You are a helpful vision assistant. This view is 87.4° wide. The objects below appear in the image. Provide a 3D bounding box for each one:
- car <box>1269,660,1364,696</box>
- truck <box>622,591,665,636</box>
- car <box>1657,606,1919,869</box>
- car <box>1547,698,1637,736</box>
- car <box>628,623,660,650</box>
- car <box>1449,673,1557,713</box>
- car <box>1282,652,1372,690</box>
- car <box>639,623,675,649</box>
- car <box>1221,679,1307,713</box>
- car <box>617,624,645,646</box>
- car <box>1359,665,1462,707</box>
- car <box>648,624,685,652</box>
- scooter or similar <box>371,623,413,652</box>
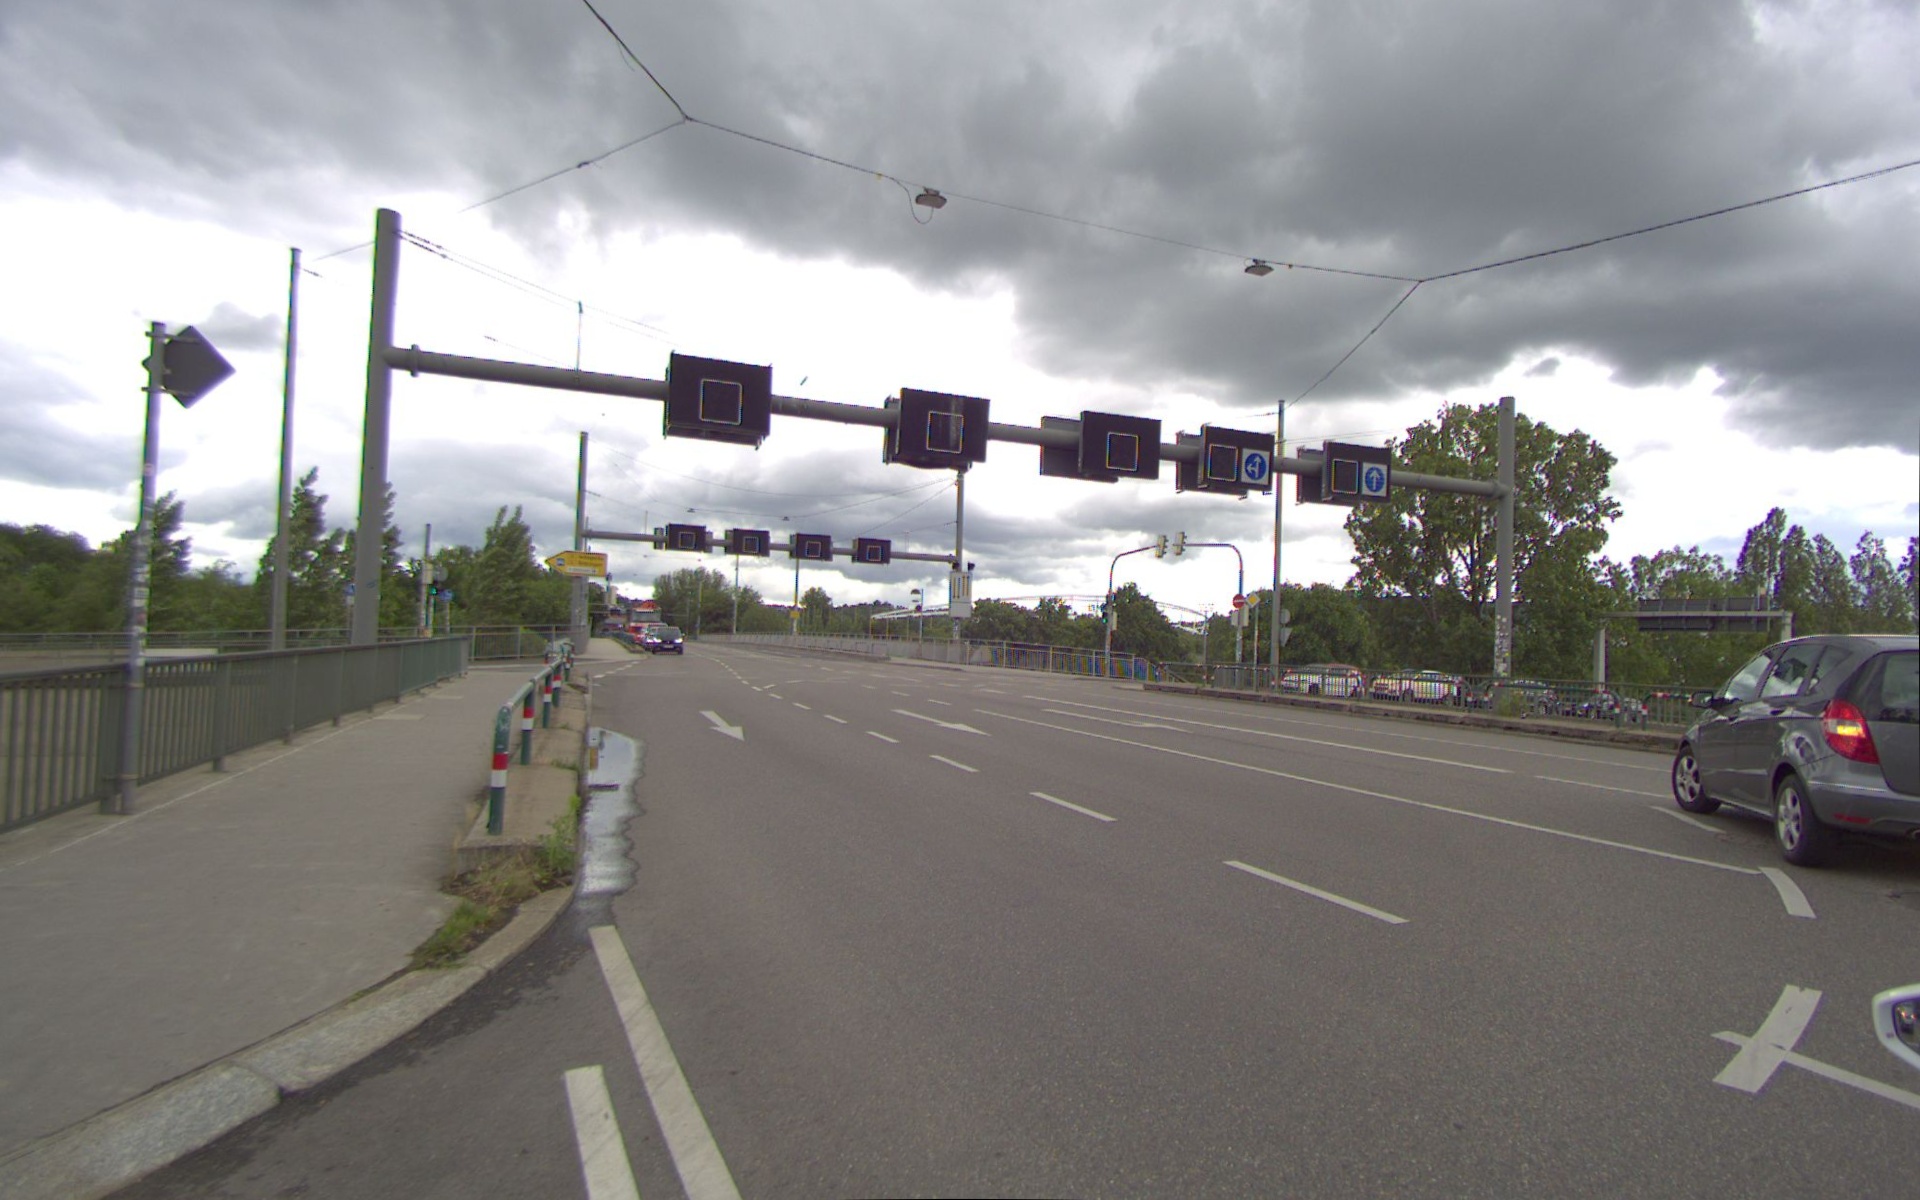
[{"bbox_3d":[15.837,3.475,44.619,3.711,1.330,1.782,5,-5,-21],"label":"car"},{"bbox_3d":[-27.808,1.256,87.845,2.971,3.612,9.935,2,-2,-21],"label":"truck"},{"bbox_3d":[6.908,1.006,7.758,1.717,1.570,3.871,3,-3,23],"label":"car"},{"bbox_3d":[32.607,6.044,51.847,3.943,1.638,1.990,5,-5,-22],"label":"car"},{"bbox_3d":[-22.479,2.577,71.365,1.858,1.784,4.780,2,-2,-21],"label":"car"},{"bbox_3d":[26.629,4.557,49.240,4.892,1.640,1.990,5,-5,-22],"label":"car"},{"bbox_3d":[17.557,3.394,48.078,3.952,1.559,1.687,6,-5,-23],"label":"car"},{"bbox_3d":[-18.865,2.191,62.437,1.814,1.524,4.495,2,-2,-21],"label":"car"},{"bbox_3d":[15.608,4.932,51.593,4.096,1.438,1.686,6,-5,-23],"label":"car"},{"bbox_3d":[-25.555,2.685,78.061,1.858,1.624,3.996,2,-2,-21],"label":"car"},{"bbox_3d":[21.077,4.013,47.002,4.280,1.640,1.991,5,-5,-21],"label":"car"},{"bbox_3d":[-16.642,2.137,56.843,1.813,1.524,3.855,2,-2,-19],"label":"car"},{"bbox_3d":[-20.756,1.365,36.738,1.319,1.070,0.481,1,-1,-29],"label":"scooter or similar"}]
